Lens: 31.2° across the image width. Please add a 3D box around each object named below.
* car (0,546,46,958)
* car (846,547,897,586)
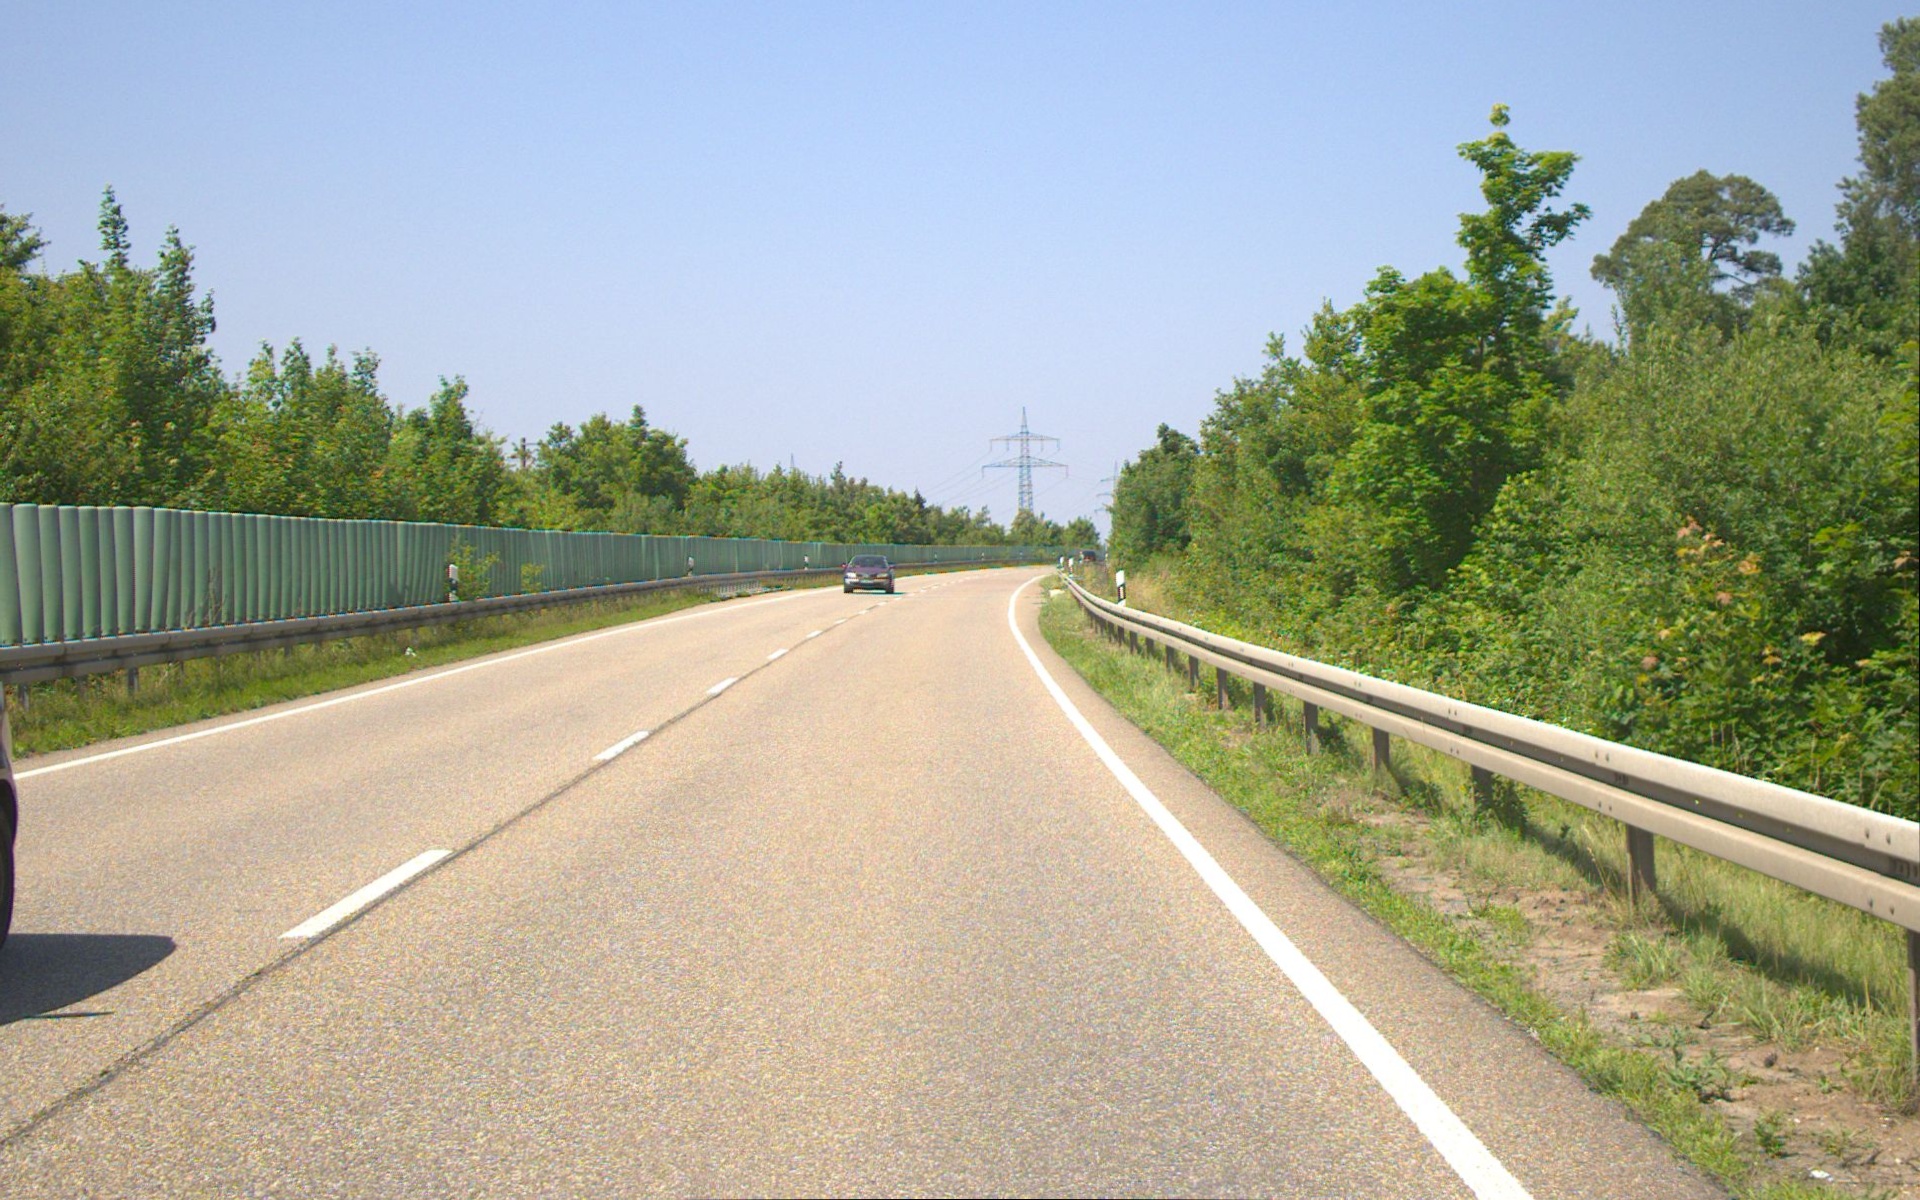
[{"bbox_3d":[-4.231,0.564,11.144,1.648,1.474,3.677,0,1,-2],"label":"car"},{"bbox_3d":[-3.239,-1.238,126.419,1.786,1.367,3.897,0,1,0],"label":"car"}]
